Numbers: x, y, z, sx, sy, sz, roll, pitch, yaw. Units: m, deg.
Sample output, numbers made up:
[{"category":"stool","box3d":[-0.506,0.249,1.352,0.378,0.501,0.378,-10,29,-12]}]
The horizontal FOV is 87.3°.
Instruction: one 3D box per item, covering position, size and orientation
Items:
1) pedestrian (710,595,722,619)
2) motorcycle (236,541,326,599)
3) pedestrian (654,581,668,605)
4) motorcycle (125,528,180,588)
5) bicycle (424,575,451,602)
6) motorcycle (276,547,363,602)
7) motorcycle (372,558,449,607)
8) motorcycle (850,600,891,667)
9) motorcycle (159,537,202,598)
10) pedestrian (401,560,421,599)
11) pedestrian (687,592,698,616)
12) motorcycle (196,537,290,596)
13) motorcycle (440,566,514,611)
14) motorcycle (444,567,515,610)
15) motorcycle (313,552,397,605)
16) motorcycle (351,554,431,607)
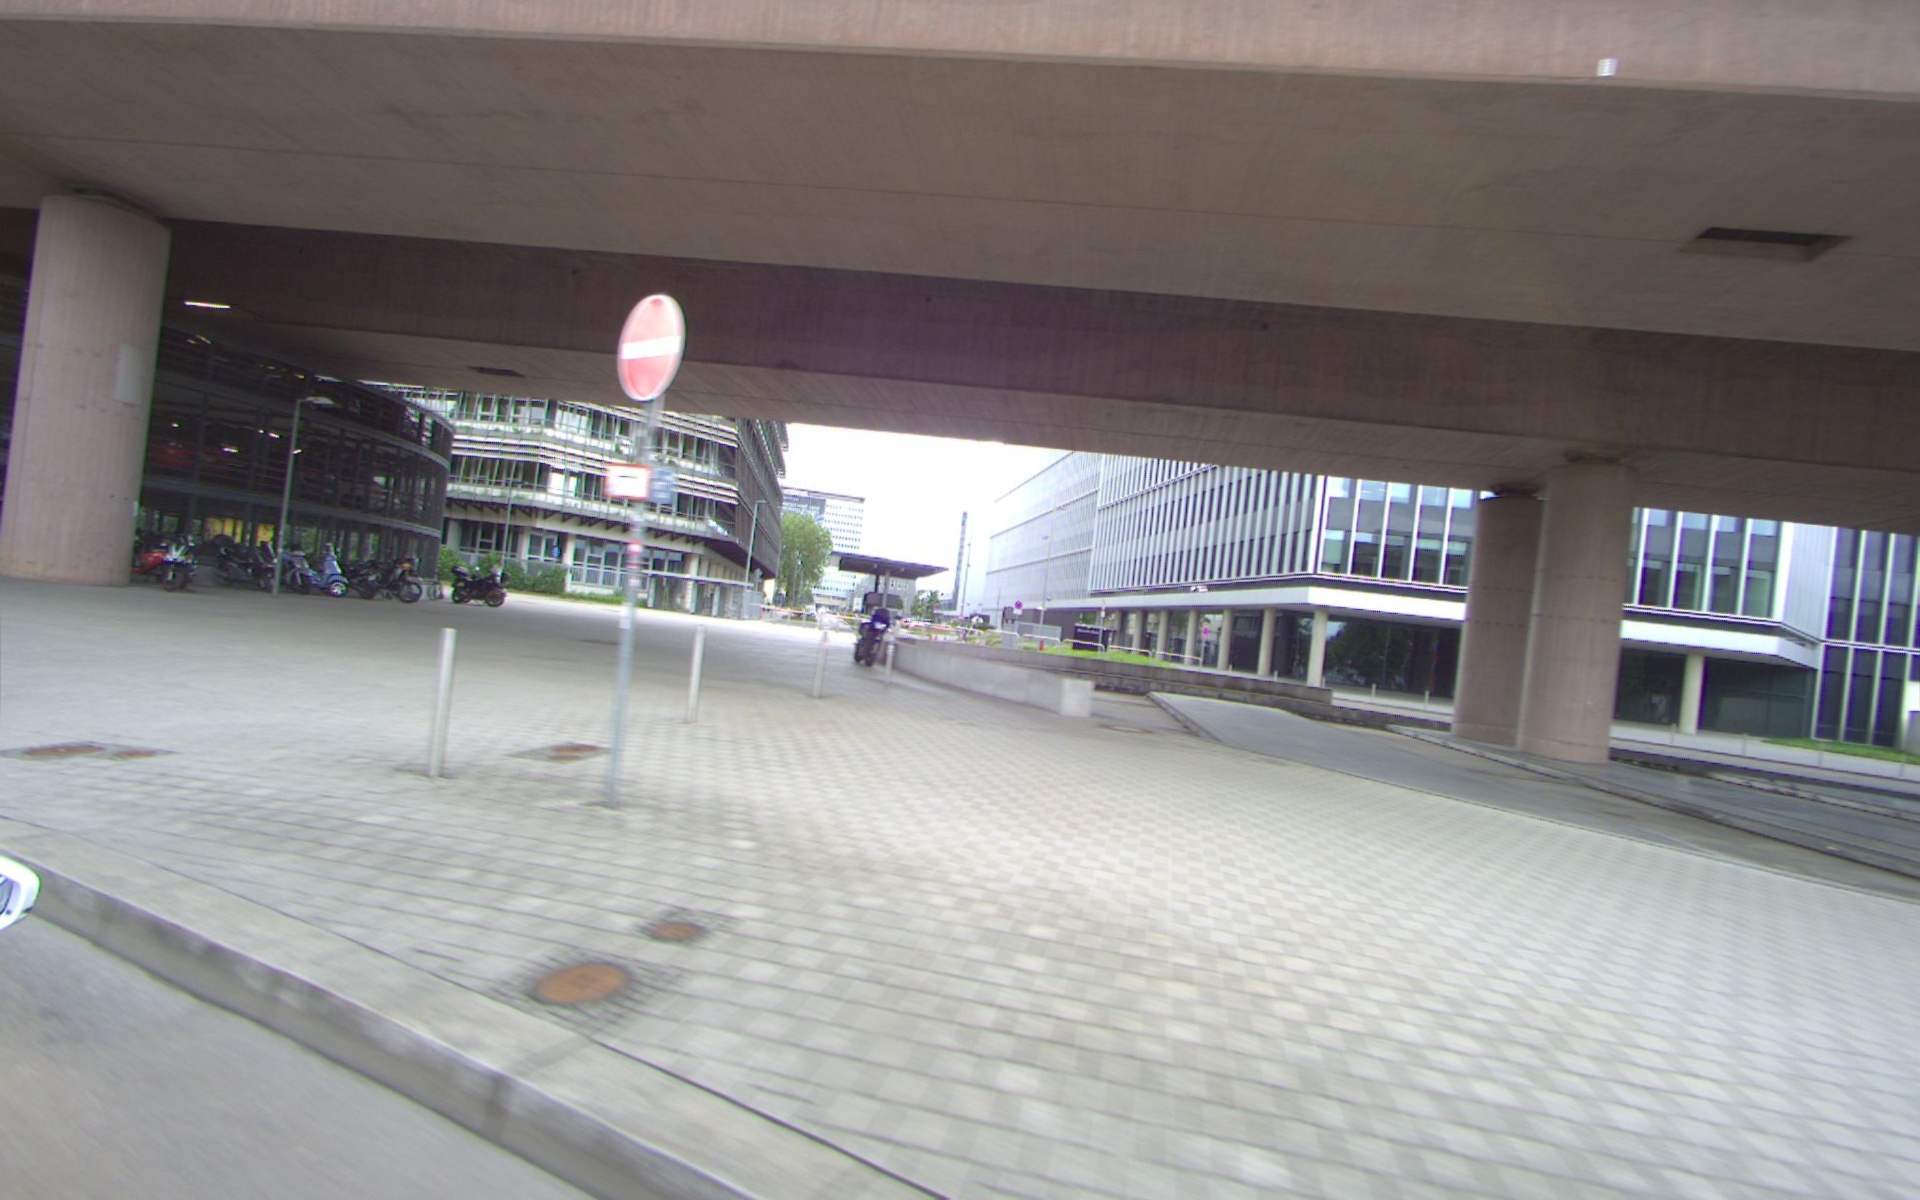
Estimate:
[{"category":"pedestrian","box3d":[-15.579,0.449,64.246,0.490,1.499,0.542,7,0,-20]},{"category":"motorcycle","box3d":[-18.159,-0.802,26.904,2.039,1.235,0.674,8,0,12]},{"category":"pedestrian","box3d":[-19.367,-0.446,65.197,0.488,1.499,0.544,8,0,28]},{"category":"motorcycle","box3d":[-18.759,-0.970,23.367,1.130,1.235,0.521,8,0,29]},{"category":"bicycle","box3d":[-19.289,-0.421,37.162,0.468,0.906,1.501,8,0,-14]},{"category":"motorcycle","box3d":[-17.776,-0.706,27.920,2.039,1.235,0.674,8,0,12]},{"category":"motorcycle","box3d":[-17.035,-0.535,31.182,2.039,1.235,0.674,8,0,12]},{"category":"motorcycle","box3d":[-1.926,0.692,21.437,0.539,1.280,1.937,7,0,-10]},{"category":"motorcycle","box3d":[-16.185,-0.672,20.889,0.518,1.184,1.137,7,-2,-42]},{"category":"pedestrian","box3d":[-30.373,-1.136,55.707,0.563,2.037,0.529,6,-1,21]},{"category":"pedestrian","box3d":[-17.148,0.248,64.526,0.490,1.499,0.542,7,0,-20]},{"category":"motorcycle","box3d":[-18.503,-0.864,25.975,2.039,1.235,0.674,8,0,12]},{"category":"motorcycle","box3d":[-17.239,-0.414,35.910,2.318,1.291,0.674,8,0,12]},{"category":"motorcycle","box3d":[-17.724,-0.426,37.124,2.318,1.235,0.674,8,0,12]},{"category":"motorcycle","box3d":[-17.482,-0.623,29.072,2.039,1.235,0.674,8,0,12]},{"category":"motorcycle","box3d":[-17.135,-0.581,30.325,2.039,1.301,0.674,8,0,12]}]
